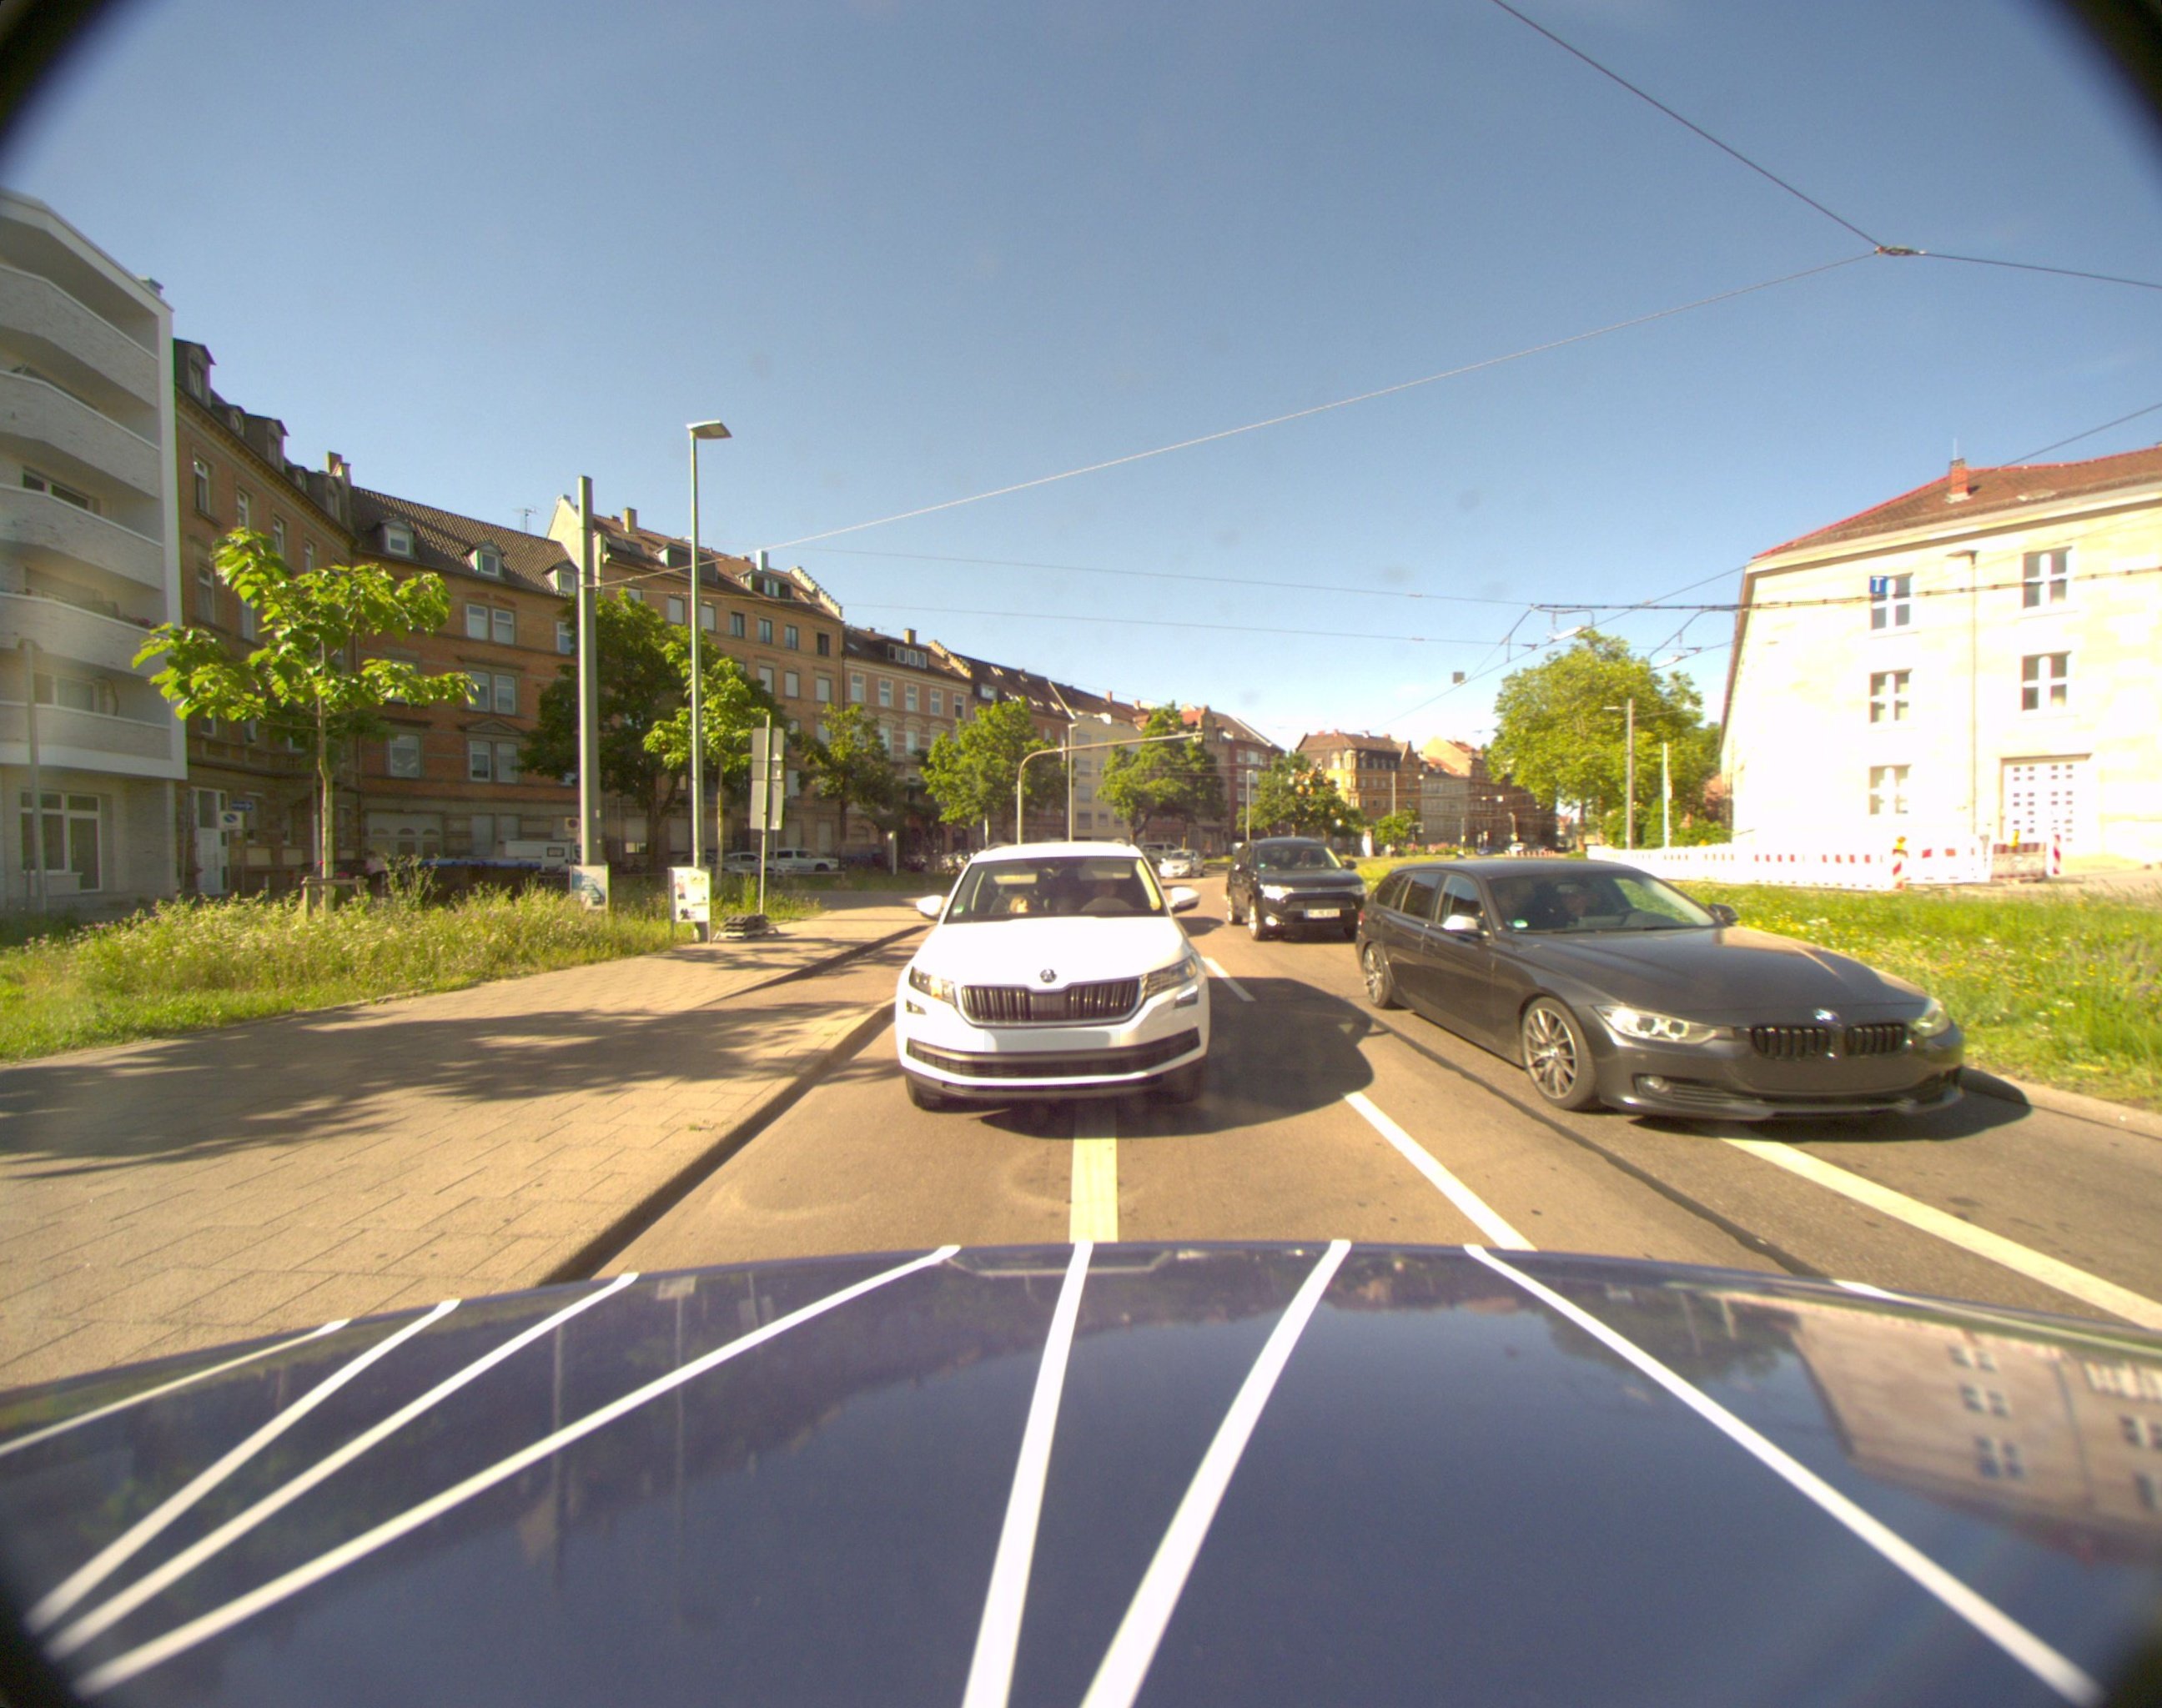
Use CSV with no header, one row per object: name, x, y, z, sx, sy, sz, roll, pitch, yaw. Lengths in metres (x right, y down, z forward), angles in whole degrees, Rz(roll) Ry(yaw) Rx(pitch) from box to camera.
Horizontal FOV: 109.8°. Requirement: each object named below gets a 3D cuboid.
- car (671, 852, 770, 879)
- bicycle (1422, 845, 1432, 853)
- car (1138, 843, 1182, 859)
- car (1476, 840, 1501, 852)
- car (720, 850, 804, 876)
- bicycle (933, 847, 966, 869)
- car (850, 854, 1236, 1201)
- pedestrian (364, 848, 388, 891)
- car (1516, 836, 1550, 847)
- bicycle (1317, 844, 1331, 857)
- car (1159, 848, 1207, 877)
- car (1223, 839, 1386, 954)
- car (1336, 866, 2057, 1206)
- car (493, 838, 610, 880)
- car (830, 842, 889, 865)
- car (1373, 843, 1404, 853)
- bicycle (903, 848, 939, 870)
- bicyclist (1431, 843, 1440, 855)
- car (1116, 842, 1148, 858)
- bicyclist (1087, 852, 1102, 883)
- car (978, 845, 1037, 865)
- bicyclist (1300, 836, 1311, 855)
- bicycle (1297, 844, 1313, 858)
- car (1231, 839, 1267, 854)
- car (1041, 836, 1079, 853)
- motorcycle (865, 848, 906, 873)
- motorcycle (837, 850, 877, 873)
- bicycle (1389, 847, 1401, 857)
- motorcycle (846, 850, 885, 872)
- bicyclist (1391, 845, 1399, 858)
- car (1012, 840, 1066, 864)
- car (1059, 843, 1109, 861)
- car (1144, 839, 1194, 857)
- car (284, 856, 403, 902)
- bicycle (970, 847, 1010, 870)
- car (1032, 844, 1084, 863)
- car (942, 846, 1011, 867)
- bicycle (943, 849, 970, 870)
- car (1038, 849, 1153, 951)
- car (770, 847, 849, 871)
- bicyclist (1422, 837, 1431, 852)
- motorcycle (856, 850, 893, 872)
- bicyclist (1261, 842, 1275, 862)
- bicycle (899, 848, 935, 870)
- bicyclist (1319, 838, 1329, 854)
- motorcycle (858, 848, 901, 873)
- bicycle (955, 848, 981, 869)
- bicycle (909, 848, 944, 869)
car,-17.491,0.533,36.909,4.156,1.244,1.683,0,1,13
bicycle,47.791,-0.709,104.987,0.762,1.138,2.287,0,1,38
car,7.136,-0.251,68.180,3.823,1.372,1.600,0,1,9
car,63.562,-1.280,118.458,4.358,1.871,1.835,-1,2,-40
car,-16.398,0.440,39.108,3.696,1.244,1.683,0,1,13
bicycle,-7.720,0.239,44.520,0.664,1.260,2.198,-3,1,-45
car,-0.221,0.853,5.951,1.842,1.636,4.397,-2,0,-1
pedestrian,-24.493,0.535,26.402,0.509,1.448,0.481,-3,2,-38
car,64.210,-1.780,107.867,4.058,1.647,1.770,1,2,34
bicycle,24.298,-0.350,75.972,0.636,1.190,2.159,0,1,37
car,5.914,0.426,43.678,1.836,1.543,4.154,0,1,21
car,3.705,0.624,13.400,1.841,1.636,4.399,-2,0,5
car,3.485,0.848,5.596,1.741,1.359,4.426,-2,0,1
car,-27.109,0.218,39.013,2.047,2.026,4.510,1,2,41
car,-15.601,-0.057,53.673,1.547,1.578,3.709,1,2,41
car,48.226,-0.941,119.204,4.058,1.647,1.770,1,2,36
bicycle,-9.697,0.294,46.011,2.198,1.260,0.664,-2,1,32
bicyclist,48.370,-0.714,103.674,0.734,1.685,0.973,0,1,44
car,5.479,-0.425,80.729,1.547,1.578,3.607,1,2,41
bicyclist,0.653,0.611,35.848,0.668,1.428,0.940,-1,1,4
car,-5.217,0.086,53.967,3.822,1.398,1.683,0,1,9
bicyclist,21.637,-0.813,73.178,0.808,1.855,0.751,1,3,38
bicycle,21.580,-0.276,73.104,0.756,1.293,2.158,0,2,37
car,18.705,-0.824,84.659,3.823,1.581,1.600,0,1,6
car,-1.929,-0.944,71.667,1.547,1.578,3.607,1,2,41
motorcycle,-11.139,0.357,43.296,2.200,1.315,0.664,-2,1,18
motorcycle,-13.280,0.438,45.022,2.314,1.270,0.664,-2,1,24
bicycle,38.447,-0.286,93.063,0.667,1.190,2.159,0,1,40
motorcycle,-12.931,0.415,45.627,2.314,1.276,0.664,-2,1,24
bicyclist,38.416,-0.309,93.029,0.667,1.619,0.973,0,1,40
car,-3.098,-0.138,56.106,3.825,1.698,1.682,0,1,3
car,0.270,-0.161,61.166,3.823,1.398,1.600,0,1,6
car,8.208,-0.591,70.610,4.578,1.658,1.600,0,1,7
car,-26.160,0.830,27.151,1.835,1.419,4.378,-1,1,-27
bicycle,-5.467,0.266,45.741,2.207,1.260,0.662,-3,1,-25
car,-1.766,-0.056,58.714,3.823,1.398,1.600,0,1,6
car,-7.034,0.174,51.297,4.322,1.398,1.682,0,1,3
bicycle,-7.676,0.340,46.762,0.664,1.260,2.199,-3,1,-36
car,0.272,0.755,14.816,1.842,1.636,4.397,-2,0,1
car,-14.672,0.255,41.197,3.700,1.244,1.540,0,1,2
bicyclist,47.782,-1.274,104.962,0.847,2.002,1.199,0,1,38
motorcycle,-12.593,0.401,46.407,2.199,1.260,0.664,-2,1,24
bicyclist,16.282,-0.172,66.232,1.096,1.715,0.714,0,1,-44
bicycle,-9.734,0.306,45.072,2.198,1.260,0.664,-2,1,30
bicyclist,24.274,-0.806,75.934,0.629,1.619,0.973,0,1,37
motorcycle,-11.169,0.374,42.209,2.200,1.322,0.663,-2,1,13
bicycle,-7.113,0.307,47.756,0.664,1.260,2.199,-3,1,-36
bicycle,-9.501,0.278,46.714,2.198,1.260,0.664,-2,1,32
